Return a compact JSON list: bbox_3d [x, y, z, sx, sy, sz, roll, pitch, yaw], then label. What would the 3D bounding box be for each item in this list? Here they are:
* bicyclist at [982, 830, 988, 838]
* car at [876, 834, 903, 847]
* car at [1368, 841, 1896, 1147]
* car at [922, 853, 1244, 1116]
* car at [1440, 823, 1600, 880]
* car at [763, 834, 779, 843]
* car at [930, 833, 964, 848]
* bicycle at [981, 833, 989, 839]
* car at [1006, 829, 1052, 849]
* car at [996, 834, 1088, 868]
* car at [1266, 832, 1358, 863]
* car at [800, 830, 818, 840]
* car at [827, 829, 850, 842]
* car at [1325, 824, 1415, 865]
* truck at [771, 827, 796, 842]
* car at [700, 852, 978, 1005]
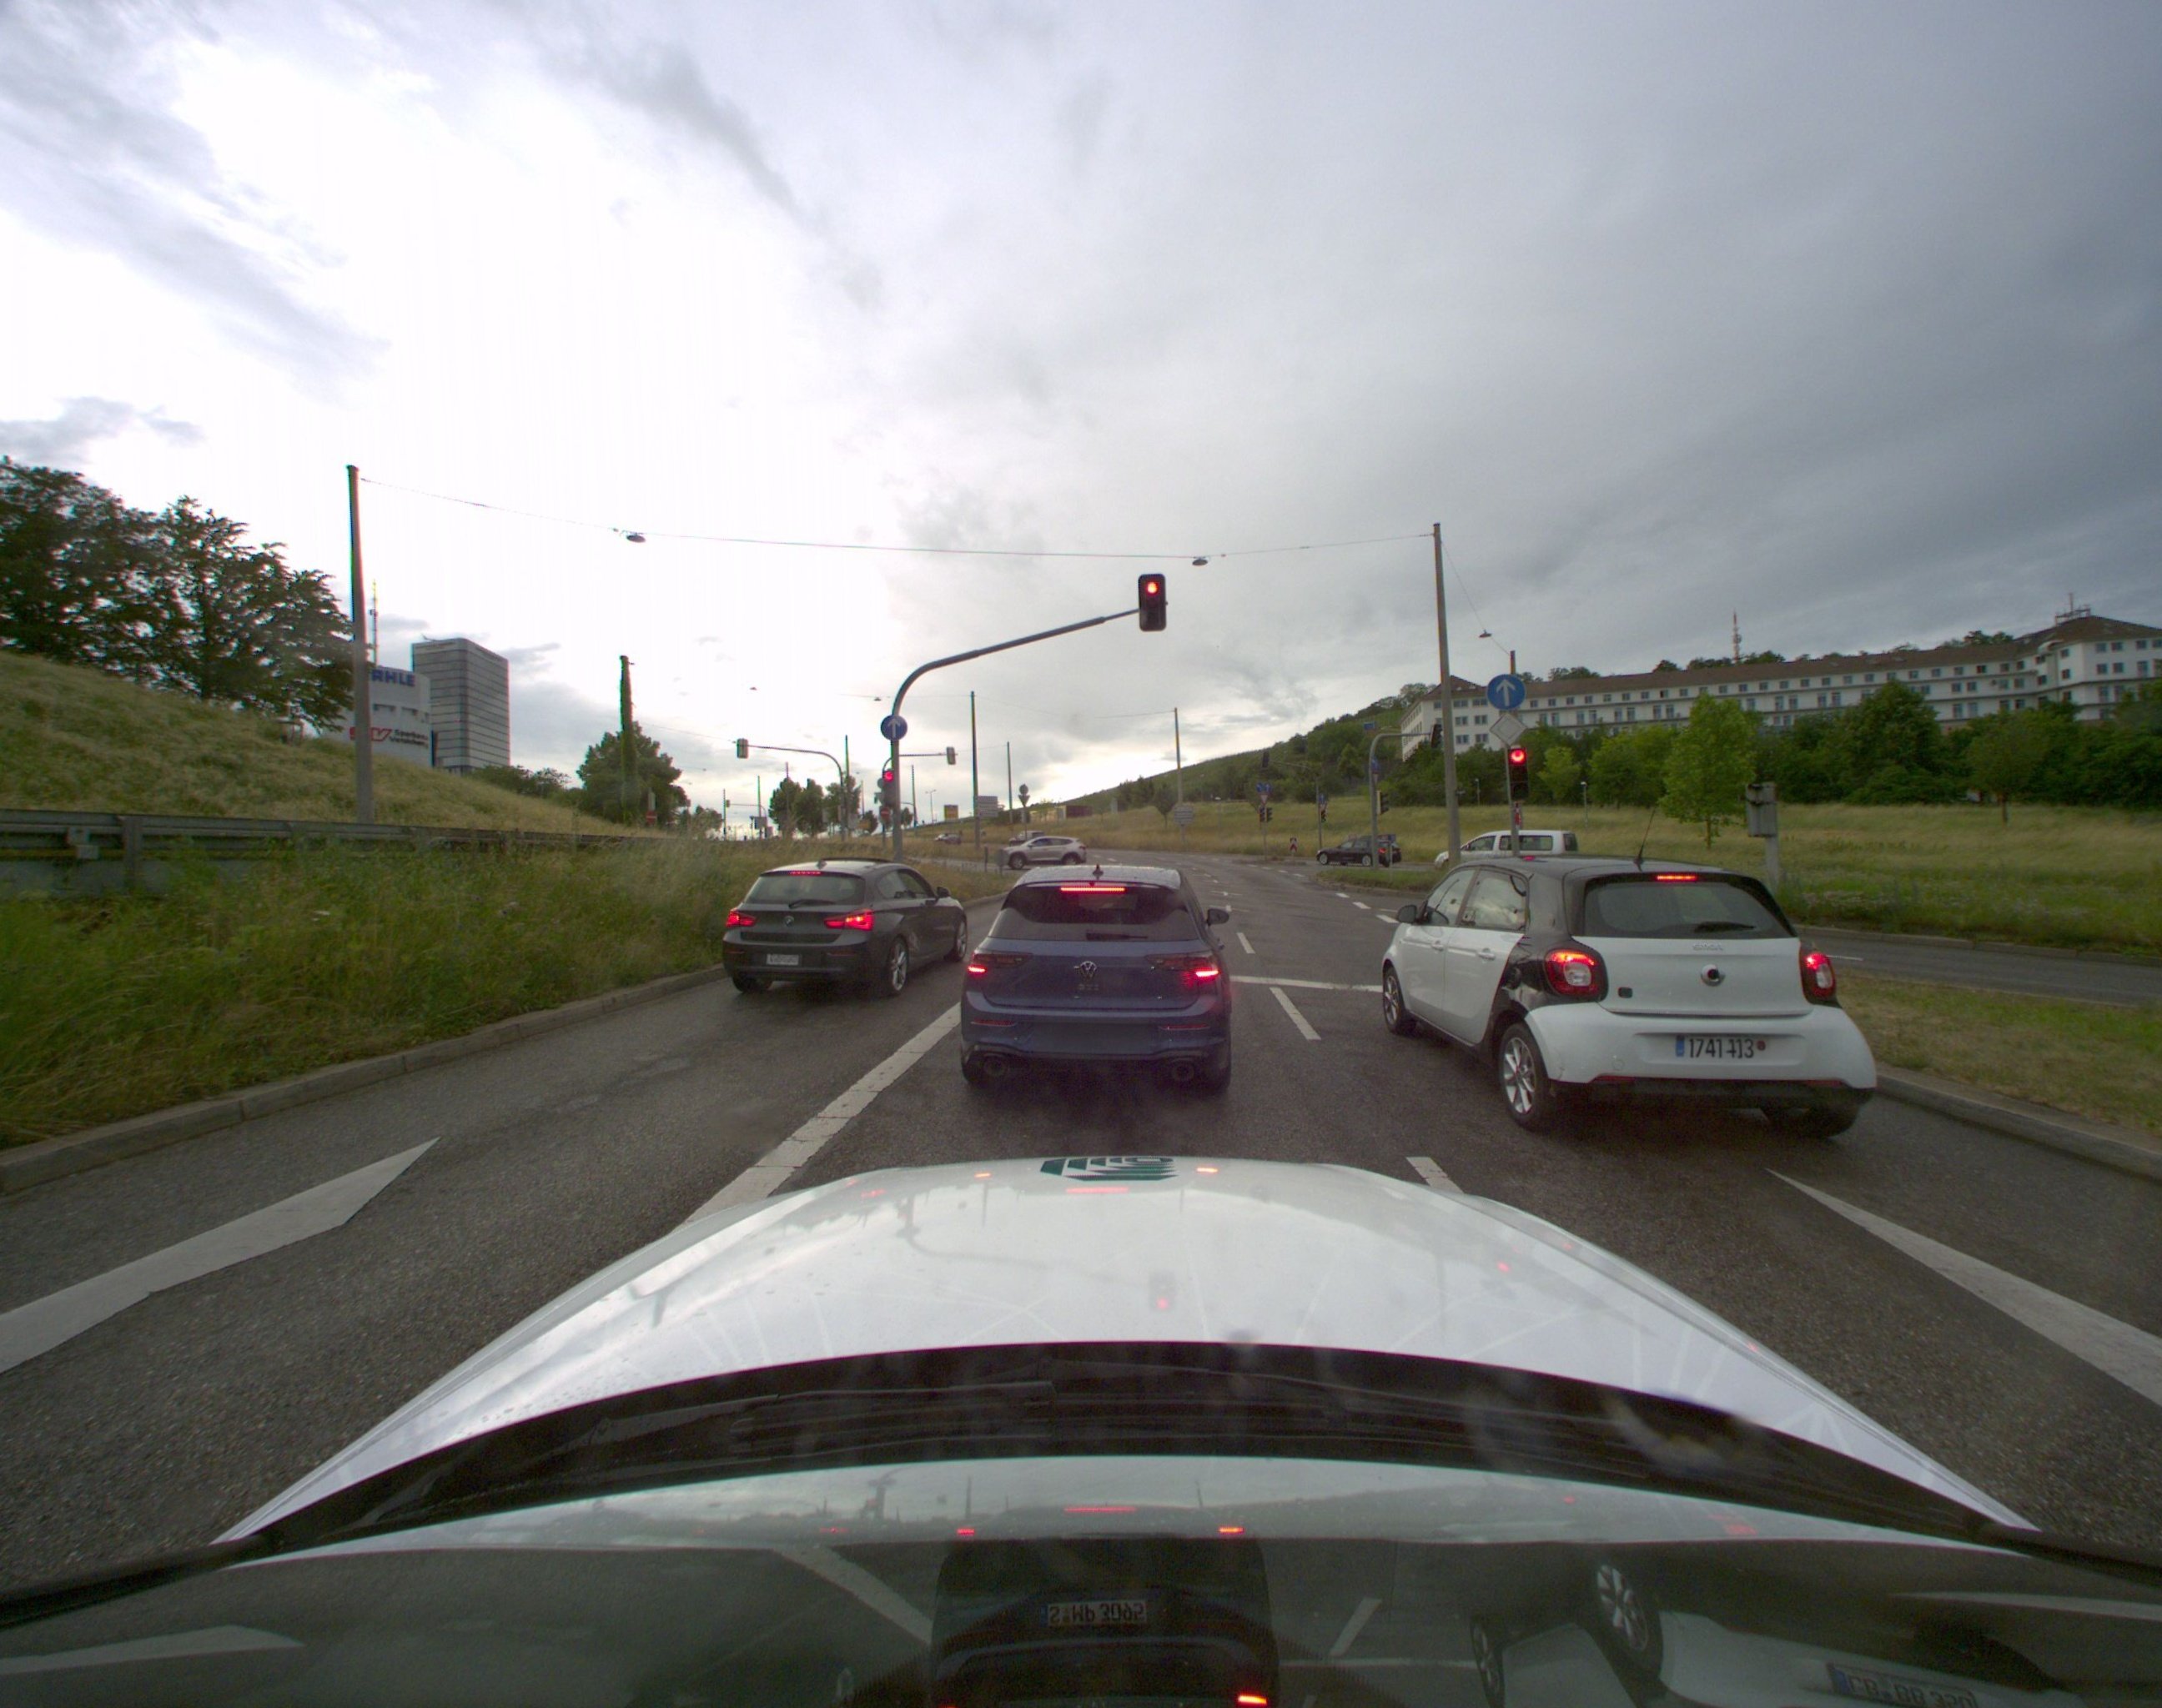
[{"bbox_3d":[-13.077,-2.759,110.911,0.527,1.046,0.574,2,0,-32],"label":"bicyclist"},{"bbox_3d":[-24.478,-1.674,103.878,2.008,1.477,4.374,0,-1,-34],"label":"car"},{"bbox_3d":[3.332,0.717,5.788,1.649,1.503,3.456,-1,-1,6],"label":"car"},{"bbox_3d":[0.232,0.734,6.510,1.815,1.460,3.816,-1,0,7],"label":"car"},{"bbox_3d":[15.466,-0.049,28.880,1.832,1.850,4.640,0,-1,-44],"label":"car"},{"bbox_3d":[-61.133,-3.112,160.583,2.008,1.659,4.308,0,-1,-33],"label":"car"},{"bbox_3d":[-14.347,-1.393,87.015,2.008,1.477,4.455,0,-1,-33],"label":"car"},{"bbox_3d":[-13.106,-2.473,110.961,0.521,0.775,1.605,2,0,-31],"label":"bicycle"},{"bbox_3d":[-4.572,-1.272,71.044,2.008,1.637,4.373,0,-1,-35],"label":"car"},{"bbox_3d":[-1.999,-0.145,41.040,4.507,1.620,1.994,0,-1,-8],"label":"car"},{"bbox_3d":[12.866,-0.353,45.652,2.008,1.618,4.801,-2,1,-34],"label":"car"},{"bbox_3d":[-49.402,-3.503,147.795,2.008,1.659,4.497,0,-1,-33],"label":"car"},{"bbox_3d":[-37.981,-2.845,127.509,2.143,1.794,4.692,0,-1,-32],"label":"car"},{"bbox_3d":[15.019,-0.467,42.516,2.009,2.014,3.955,0,-1,-37],"label":"car"},{"bbox_3d":[-61.973,-4.033,169.742,3.281,3.074,6.111,2,0,-35],"label":"truck"},{"bbox_3d":[-2.635,0.727,9.990,1.693,1.459,4.123,-1,0,7],"label":"car"}]
